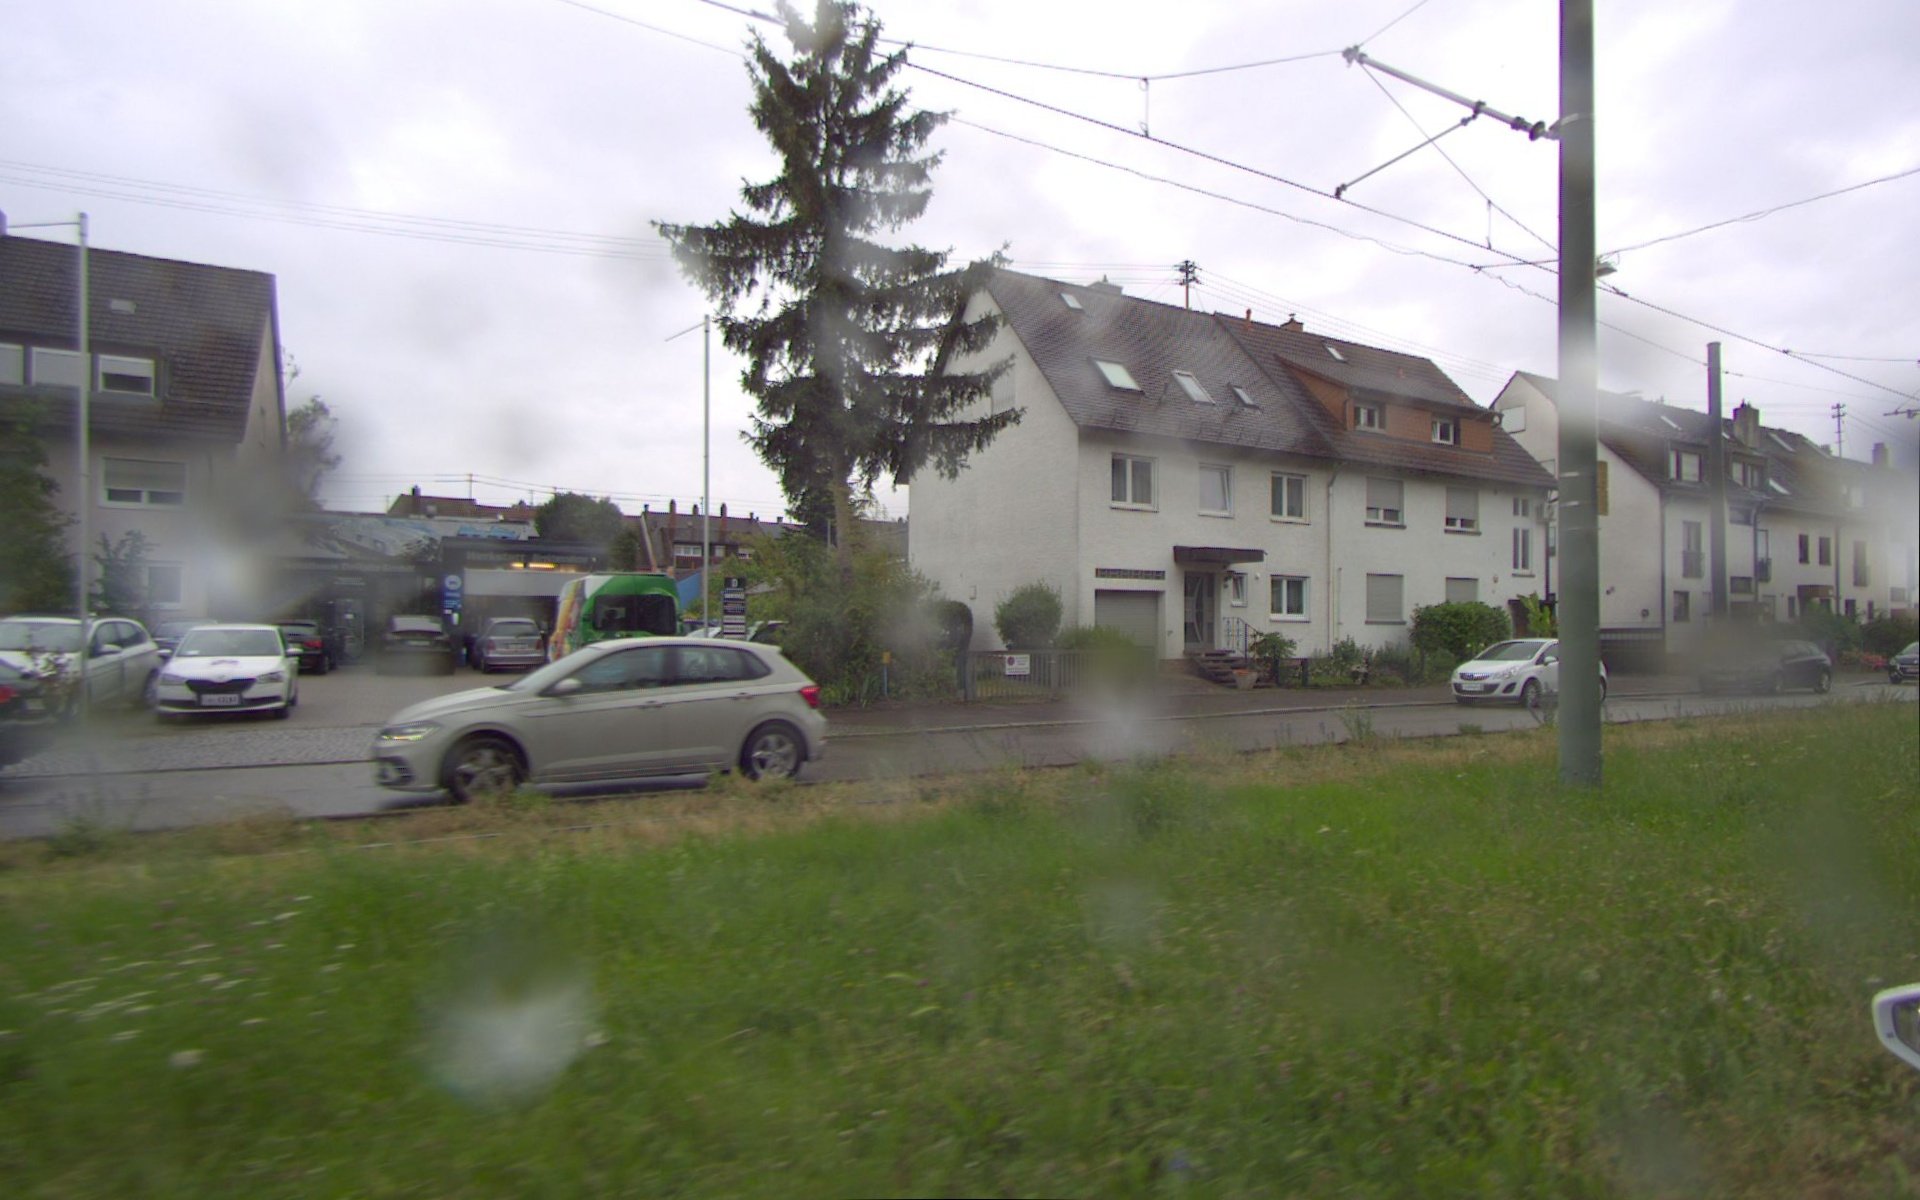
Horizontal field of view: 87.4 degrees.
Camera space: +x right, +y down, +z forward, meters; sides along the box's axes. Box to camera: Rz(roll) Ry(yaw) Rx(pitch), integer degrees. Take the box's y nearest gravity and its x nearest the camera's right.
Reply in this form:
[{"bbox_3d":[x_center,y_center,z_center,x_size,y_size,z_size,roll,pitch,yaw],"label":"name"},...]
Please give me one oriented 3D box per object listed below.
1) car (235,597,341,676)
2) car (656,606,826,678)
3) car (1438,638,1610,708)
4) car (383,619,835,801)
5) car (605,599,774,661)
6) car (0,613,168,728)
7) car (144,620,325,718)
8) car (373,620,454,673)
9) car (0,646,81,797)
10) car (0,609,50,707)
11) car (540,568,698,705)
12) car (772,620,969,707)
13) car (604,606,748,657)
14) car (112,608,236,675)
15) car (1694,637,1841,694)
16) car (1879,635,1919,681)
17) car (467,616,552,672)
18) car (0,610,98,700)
[{"bbox_3d":[-18.134,0.953,27.270,1.976,1.803,3.579,3,1,-29],"label":"car"},{"bbox_3d":[-5.636,1.027,25.882,3.848,1.586,1.984,-2,0,-30],"label":"car"},{"bbox_3d":[12.718,1.643,22.603,3.896,1.442,1.594,4,-3,-29],"label":"car"},{"bbox_3d":[-3.273,0.999,9.603,3.774,1.442,1.594,4,-3,-29],"label":"car"},{"bbox_3d":[-7.550,0.875,28.363,1.837,1.601,4.380,-2,-3,39],"label":"car"},{"bbox_3d":[-13.921,1.037,15.592,1.700,1.593,3.594,3,-3,-25],"label":"car"},{"bbox_3d":[-11.865,1.101,16.696,1.700,1.414,3.818,3,-3,-25],"label":"car"},{"bbox_3d":[-15.513,1.292,28.436,1.741,1.349,3.966,4,-3,-32],"label":"car"},{"bbox_3d":[-11.090,1.055,9.102,4.335,1.356,1.710,4,-3,-28],"label":"car"},{"bbox_3d":[-18.957,1.020,17.381,4.390,1.709,1.749,1,-3,-27],"label":"car"},{"bbox_3d":[-7.152,0.769,20.683,2.126,2.437,5.110,3,-3,-29],"label":"car"},{"bbox_3d":[-1.973,1.336,22.230,3.848,1.586,1.984,-2,0,-30],"label":"car"},{"bbox_3d":[-9.358,1.072,33.428,1.767,1.601,4.428,-2,-3,39],"label":"car"},{"bbox_3d":[-20.314,1.059,26.142,1.977,1.585,3.863,3,-2,-30],"label":"car"},{"bbox_3d":[22.552,1.842,28.022,4.611,1.442,1.594,4,-3,-29],"label":"car"},{"bbox_3d":[33.327,2.019,34.194,4.085,1.523,1.868,4,-3,-30],"label":"car"},{"bbox_3d":[-13.588,1.309,30.172,1.767,1.517,3.966,4,-3,-31],"label":"car"},{"bbox_3d":[-19.906,1.071,19.506,4.390,1.709,1.987,1,-3,-27],"label":"car"}]
